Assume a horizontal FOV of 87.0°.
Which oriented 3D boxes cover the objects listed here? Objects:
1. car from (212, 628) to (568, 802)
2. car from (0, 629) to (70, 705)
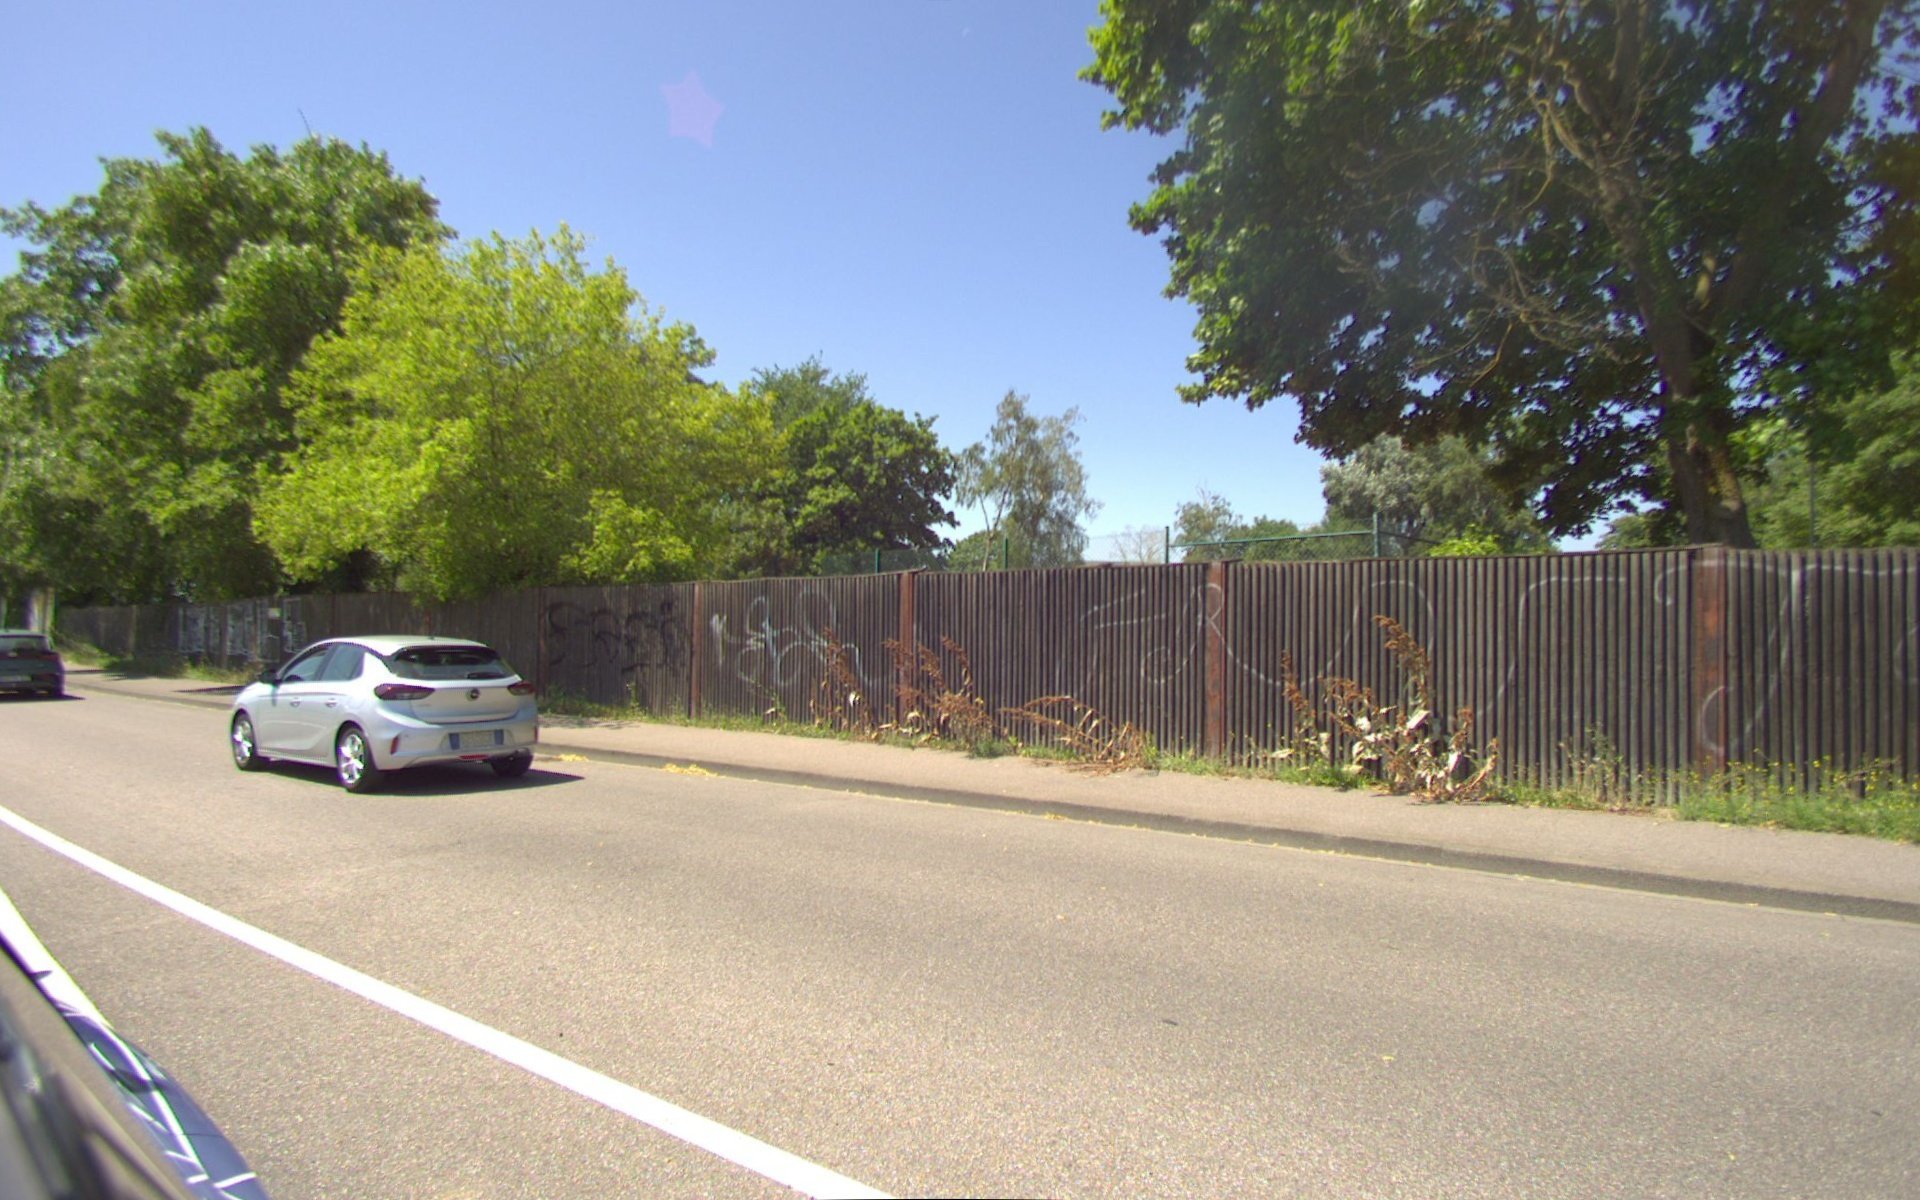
[{"bbox_3d":[-5.944,1.054,10.439,3.834,1.475,1.699,-1,-3,35],"label":"car"},{"bbox_3d":[-20.257,1.363,21.098,3.686,1.497,1.739,-1,-2,35],"label":"car"}]
